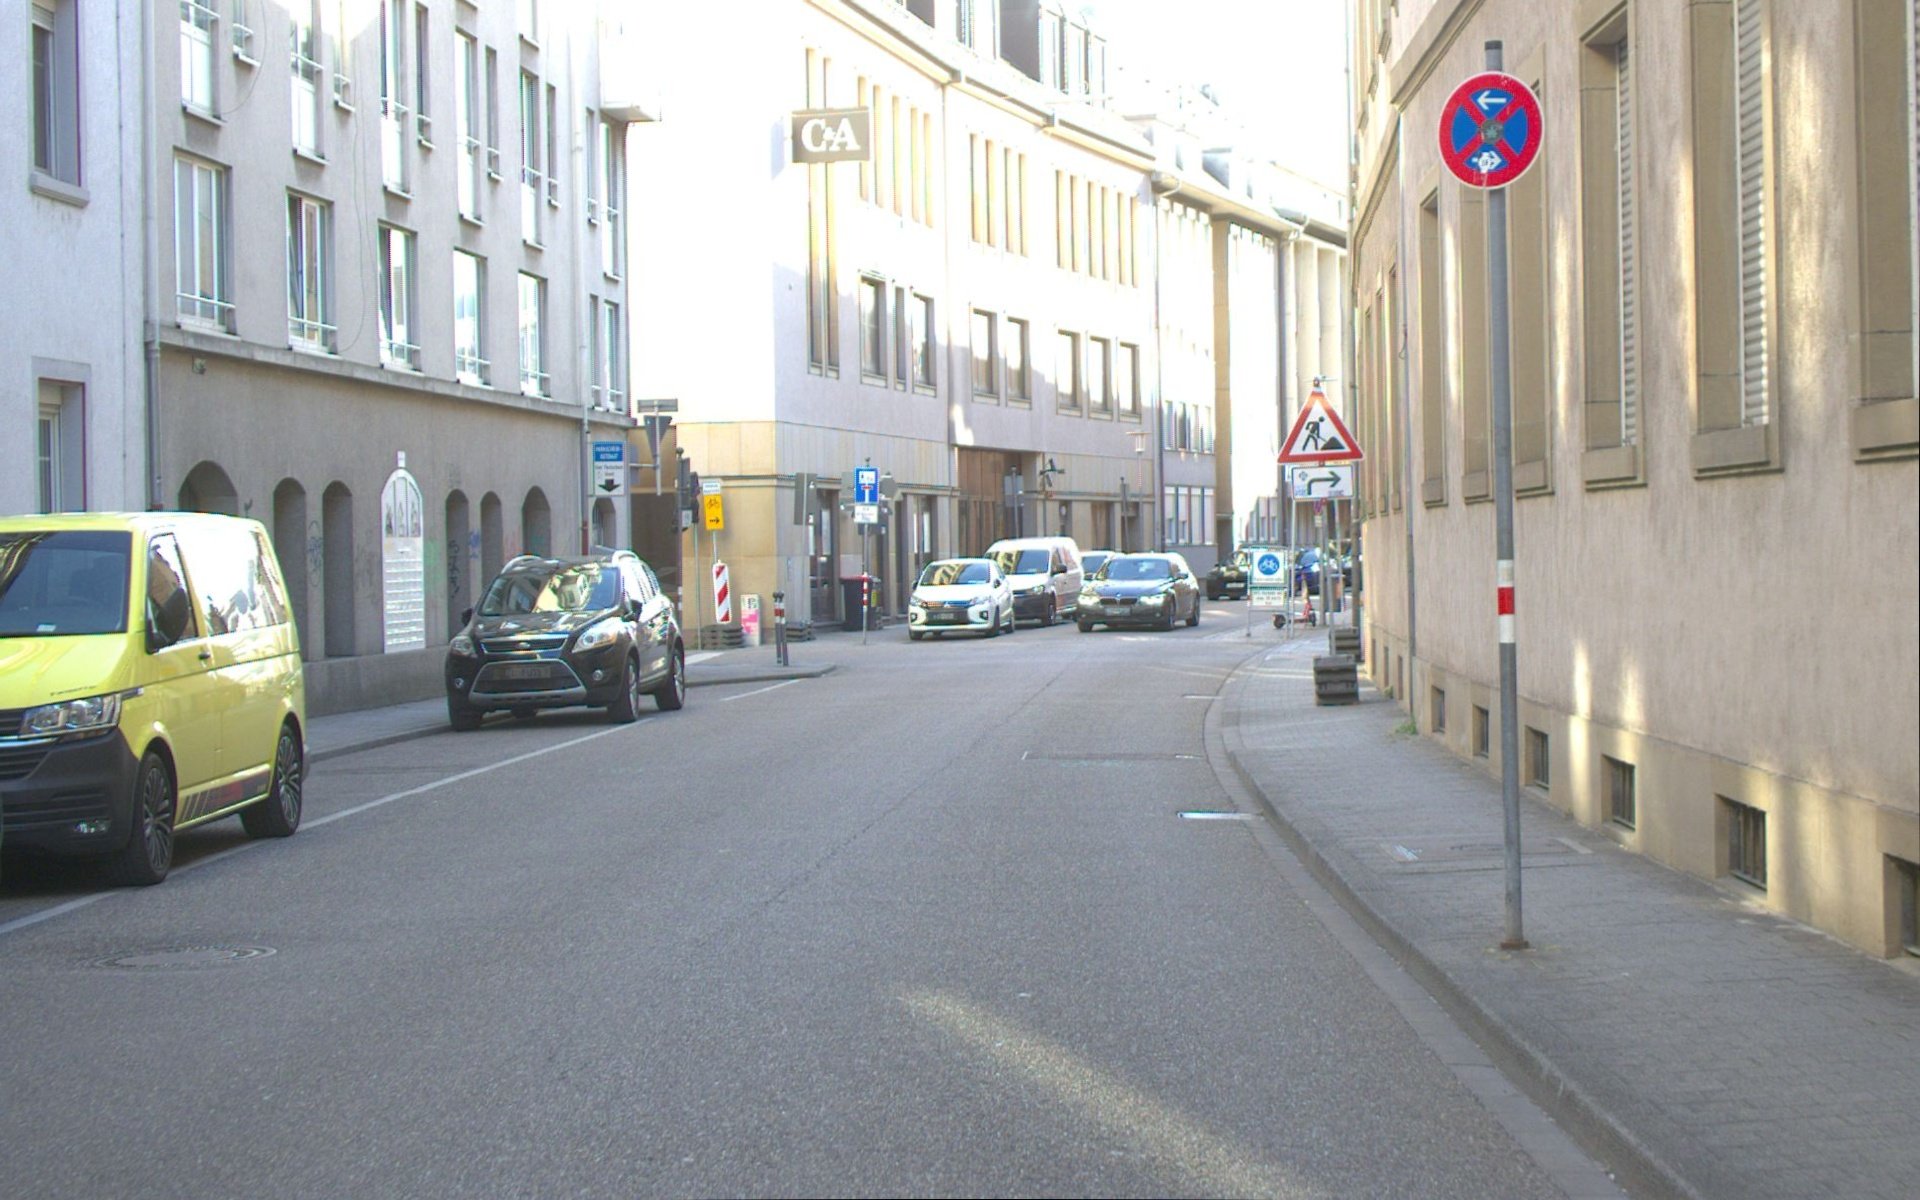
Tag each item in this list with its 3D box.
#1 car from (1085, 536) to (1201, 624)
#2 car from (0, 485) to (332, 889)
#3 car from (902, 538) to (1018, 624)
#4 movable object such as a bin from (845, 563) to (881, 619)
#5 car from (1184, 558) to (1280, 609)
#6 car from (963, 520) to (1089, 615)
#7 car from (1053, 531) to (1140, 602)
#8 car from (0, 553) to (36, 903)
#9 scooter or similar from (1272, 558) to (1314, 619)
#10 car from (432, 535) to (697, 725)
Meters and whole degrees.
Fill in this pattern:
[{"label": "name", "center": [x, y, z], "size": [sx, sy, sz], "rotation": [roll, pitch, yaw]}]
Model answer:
[{"label": "car", "center": [3.434, -0.402, 65.045], "size": [1.714, 1.572, 4.191], "rotation": [-1, 1, -3]}, {"label": "car", "center": [-4.885, 0.402, 18.519], "size": [1.880, 1.860, 4.864], "rotation": [-3, 1, 2]}, {"label": "car", "center": [0.024, -0.376, 65.394], "size": [1.671, 1.501, 3.793], "rotation": [-2, 1, 7]}, {"label": "movable object such as a bin", "center": [-1.877, -0.173, 66.802], "size": [0.609, 1.057, 0.713], "rotation": [2, 1, 4]}, {"label": "car", "center": [7.726, -0.482, 97.358], "size": [1.883, 1.327, 4.097], "rotation": [-1, 1, 17]}, {"label": "car", "center": [1.396, -0.703, 71.125], "size": [1.671, 1.812, 4.549], "rotation": [-2, 1, 12]}, {"label": "car", "center": [3.083, -0.770, 77.143], "size": [1.272, 1.501, 3.400], "rotation": [-2, 1, 13]}, {"label": "car", "center": [-5.003, 0.624, 13.069], "size": [1.819, 1.481, 4.077], "rotation": [-3, 1, 0]}, {"label": "scooter or similar", "center": [6.387, -0.224, 65.925], "size": [0.771, 1.132, 0.269], "rotation": [2, 1, 10]}, {"label": "car", "center": [-3.950, 0.248, 34.981], "size": [1.740, 1.705, 4.190], "rotation": [-3, 1, 6]}]
